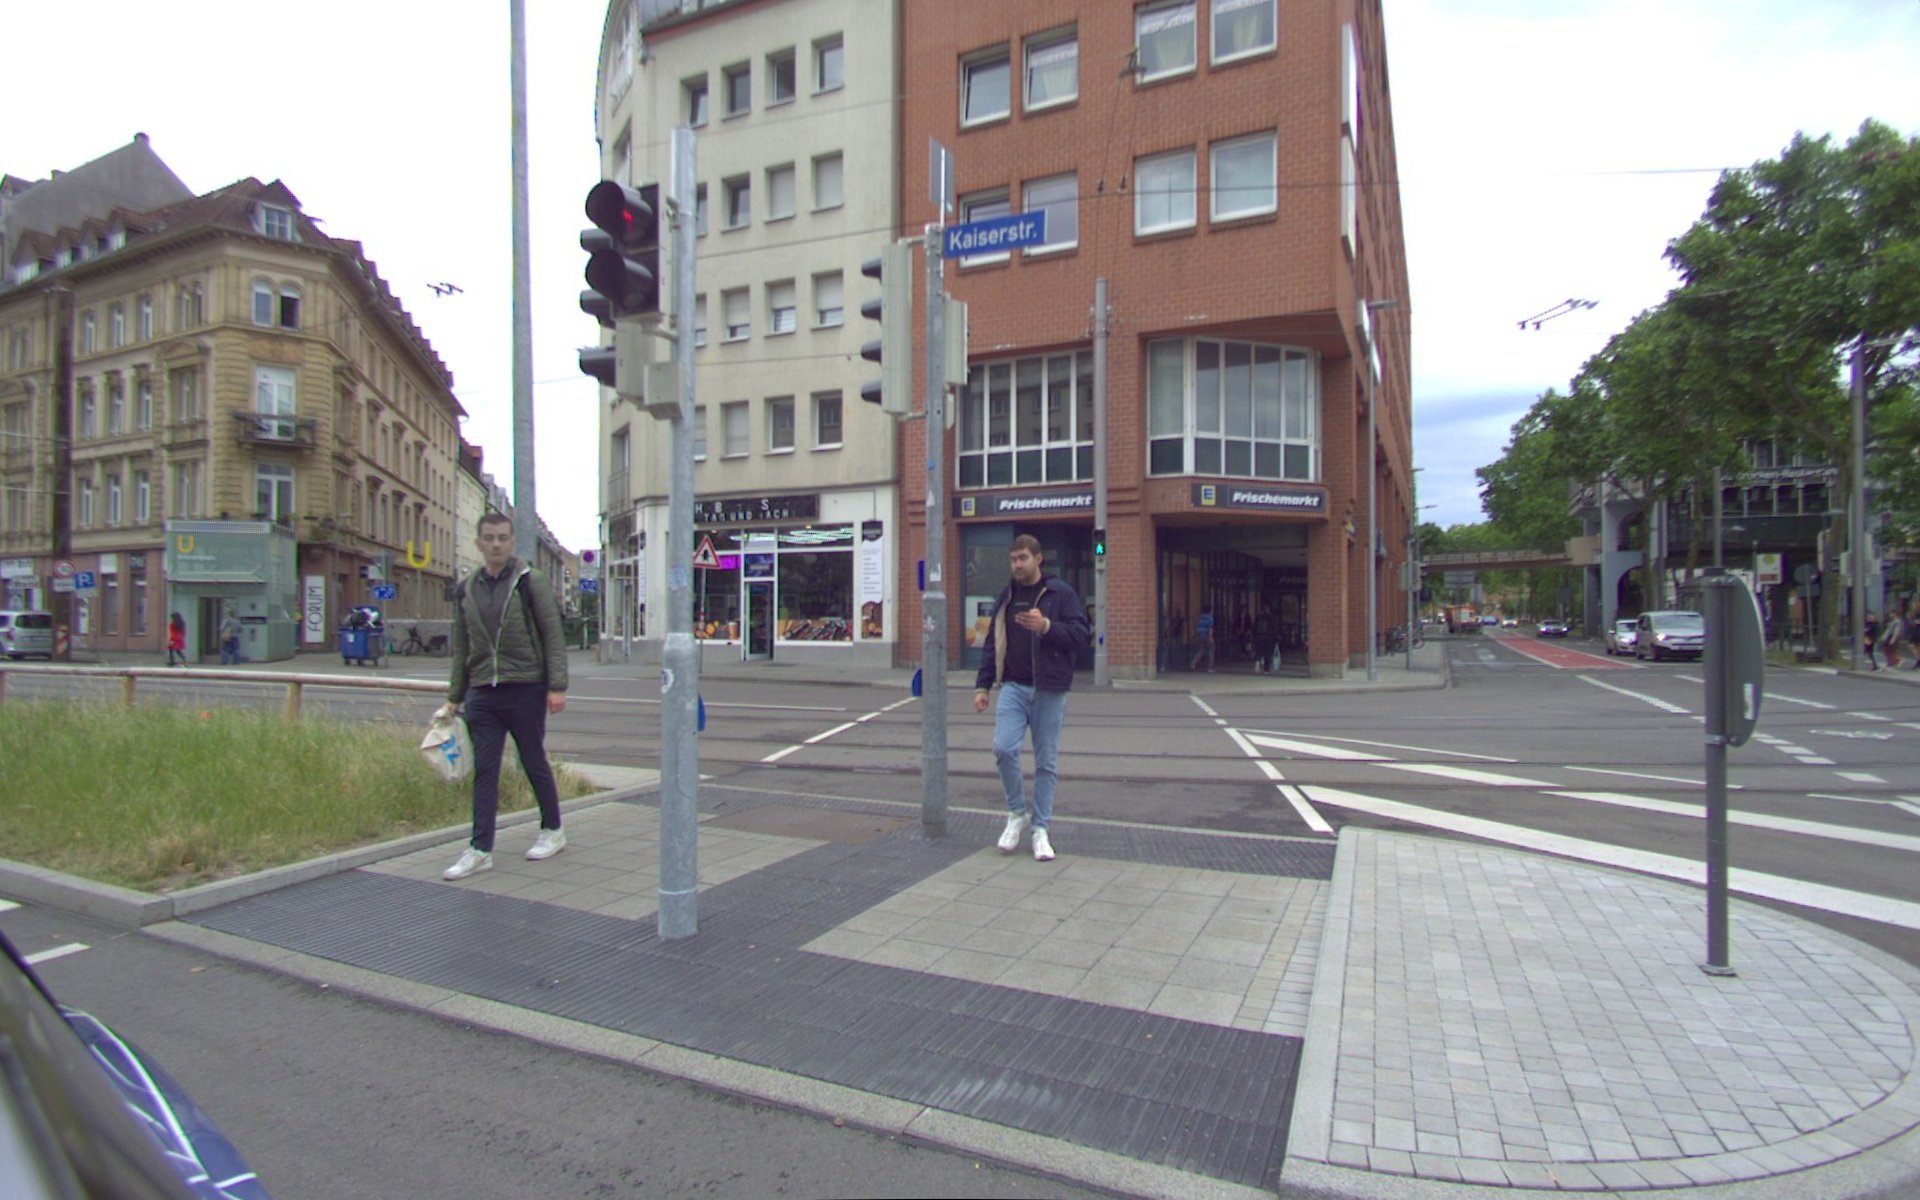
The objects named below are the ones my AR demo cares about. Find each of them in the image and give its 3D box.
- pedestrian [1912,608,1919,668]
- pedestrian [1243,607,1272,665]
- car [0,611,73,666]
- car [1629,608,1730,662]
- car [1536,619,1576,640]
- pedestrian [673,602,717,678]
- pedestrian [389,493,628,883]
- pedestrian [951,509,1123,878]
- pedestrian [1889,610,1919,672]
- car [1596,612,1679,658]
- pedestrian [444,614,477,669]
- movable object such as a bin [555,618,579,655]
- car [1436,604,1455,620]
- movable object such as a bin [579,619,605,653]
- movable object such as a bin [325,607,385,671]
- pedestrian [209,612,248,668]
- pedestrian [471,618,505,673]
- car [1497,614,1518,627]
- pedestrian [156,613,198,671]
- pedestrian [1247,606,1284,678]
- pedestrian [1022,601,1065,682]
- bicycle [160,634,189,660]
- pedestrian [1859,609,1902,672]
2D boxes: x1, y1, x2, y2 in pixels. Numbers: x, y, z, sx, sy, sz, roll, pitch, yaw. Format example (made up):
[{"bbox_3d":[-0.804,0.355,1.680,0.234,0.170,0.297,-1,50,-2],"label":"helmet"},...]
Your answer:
[{"bbox_3d":[26.209,1.029,27.256,0.625,1.624,0.571,1,0,19],"label":"pedestrian"},{"bbox_3d":[8.939,1.079,30.404,0.794,1.696,0.741,0,0,22],"label":"pedestrian"},{"bbox_3d":[-34.390,1.390,36.495,4.494,1.879,1.893,-1,-3,25],"label":"car"},{"bbox_3d":[25.364,1.204,35.822,1.914,1.807,3.972,-1,-1,21],"label":"car"},{"bbox_3d":[44.391,2.192,75.473,1.914,1.575,3.843,-1,-1,21],"label":"car"},{"bbox_3d":[-6.120,0.917,23.398,0.716,1.700,0.659,1,-1,14],"label":"pedestrian"},{"bbox_3d":[-2.429,0.425,5.514,0.794,1.904,0.892,0,0,24],"label":"pedestrian"},{"bbox_3d":[0.441,0.481,5.667,0.794,1.904,0.607,0,-1,24],"label":"pedestrian"},{"bbox_3d":[25.305,1.078,26.952,0.625,1.624,0.571,1,0,19],"label":"pedestrian"},{"bbox_3d":[27.969,1.409,41.910,1.914,1.807,3.972,-1,-1,21],"label":"car"},{"bbox_3d":[-15.625,1.295,31.664,0.722,1.700,0.653,0,-1,41],"label":"pedestrian"},{"bbox_3d":[-16.891,1.554,43.463,0.930,1.512,1.243,0,0,-23],"label":"movable object such as a bin"},{"bbox_3d":[58.926,1.479,122.845,1.917,1.807,3.675,-1,-1,25],"label":"car"},{"bbox_3d":[-15.929,1.526,43.802,0.993,1.416,1.243,0,0,-23],"label":"movable object such as a bin"},{"bbox_3d":[-19.632,1.255,32.831,1.612,1.996,1.023,1,-1,33],"label":"movable object such as a bin"},{"bbox_3d":[-22.941,1.252,31.742,0.723,1.700,0.813,0,-2,43],"label":"pedestrian"},{"bbox_3d":[-15.024,1.432,32.206,0.923,1.700,0.653,0,-1,42],"label":"pedestrian"},{"bbox_3d":[67.275,2.510,124.396,1.667,1.559,3.681,-1,-1,20],"label":"car"},{"bbox_3d":[-23.267,1.242,30.075,0.656,1.700,0.719,1,-1,16],"label":"pedestrian"},{"bbox_3d":[7.409,1.007,24.509,0.794,1.696,0.741,0,0,22],"label":"pedestrian"},{"bbox_3d":[1.780,0.874,21.593,0.794,1.696,0.567,0,0,22],"label":"pedestrian"},{"bbox_3d":[-29.350,1.748,37.802,1.682,0.966,0.337,-1,0,33],"label":"bicycle"},{"bbox_3d":[23.989,1.042,26.380,0.625,1.586,0.571,1,0,19],"label":"pedestrian"}]
